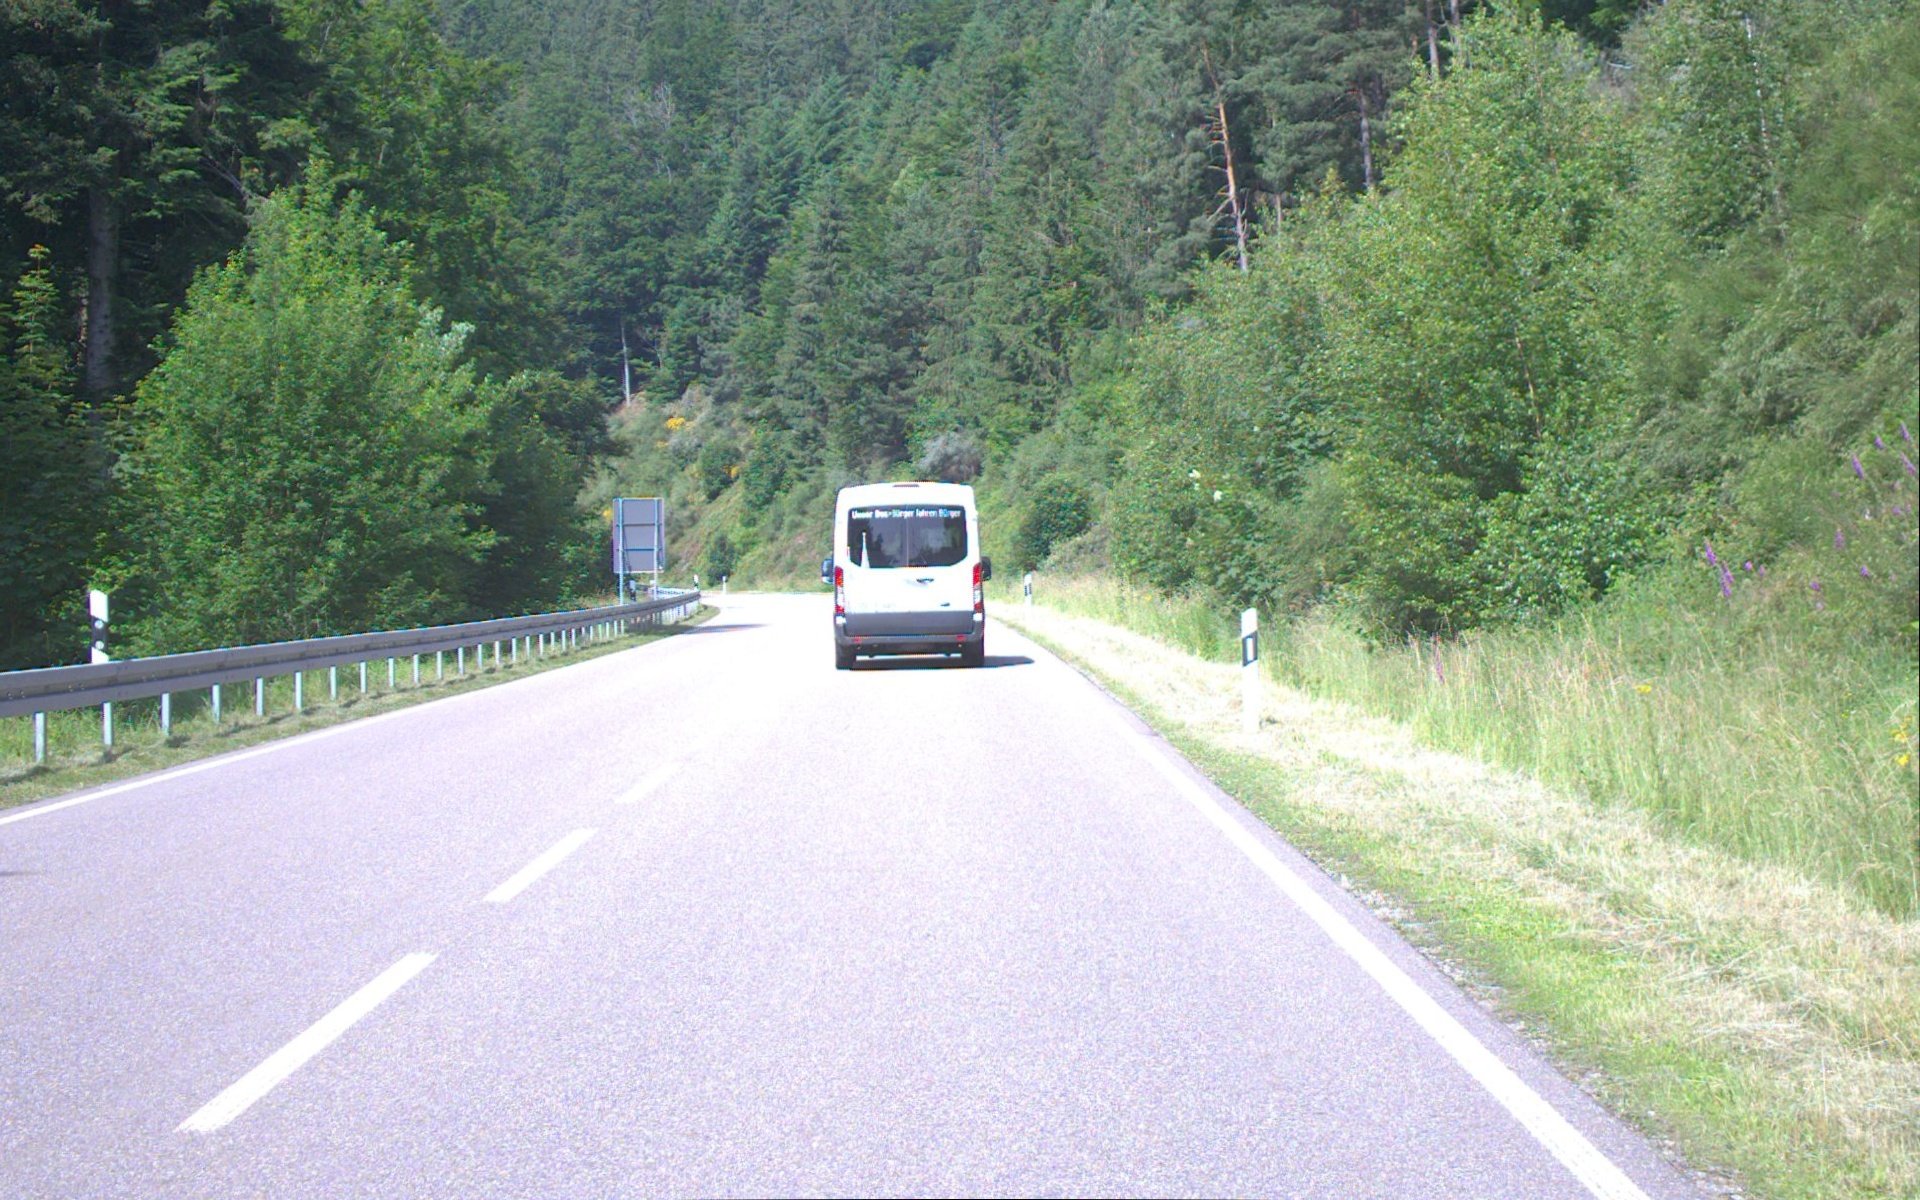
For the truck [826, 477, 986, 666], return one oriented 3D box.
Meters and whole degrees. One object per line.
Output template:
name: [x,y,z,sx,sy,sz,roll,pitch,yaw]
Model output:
truck: [-0.704,-0.388,47.280,2.083,2.451,4.875,0,0,0]
